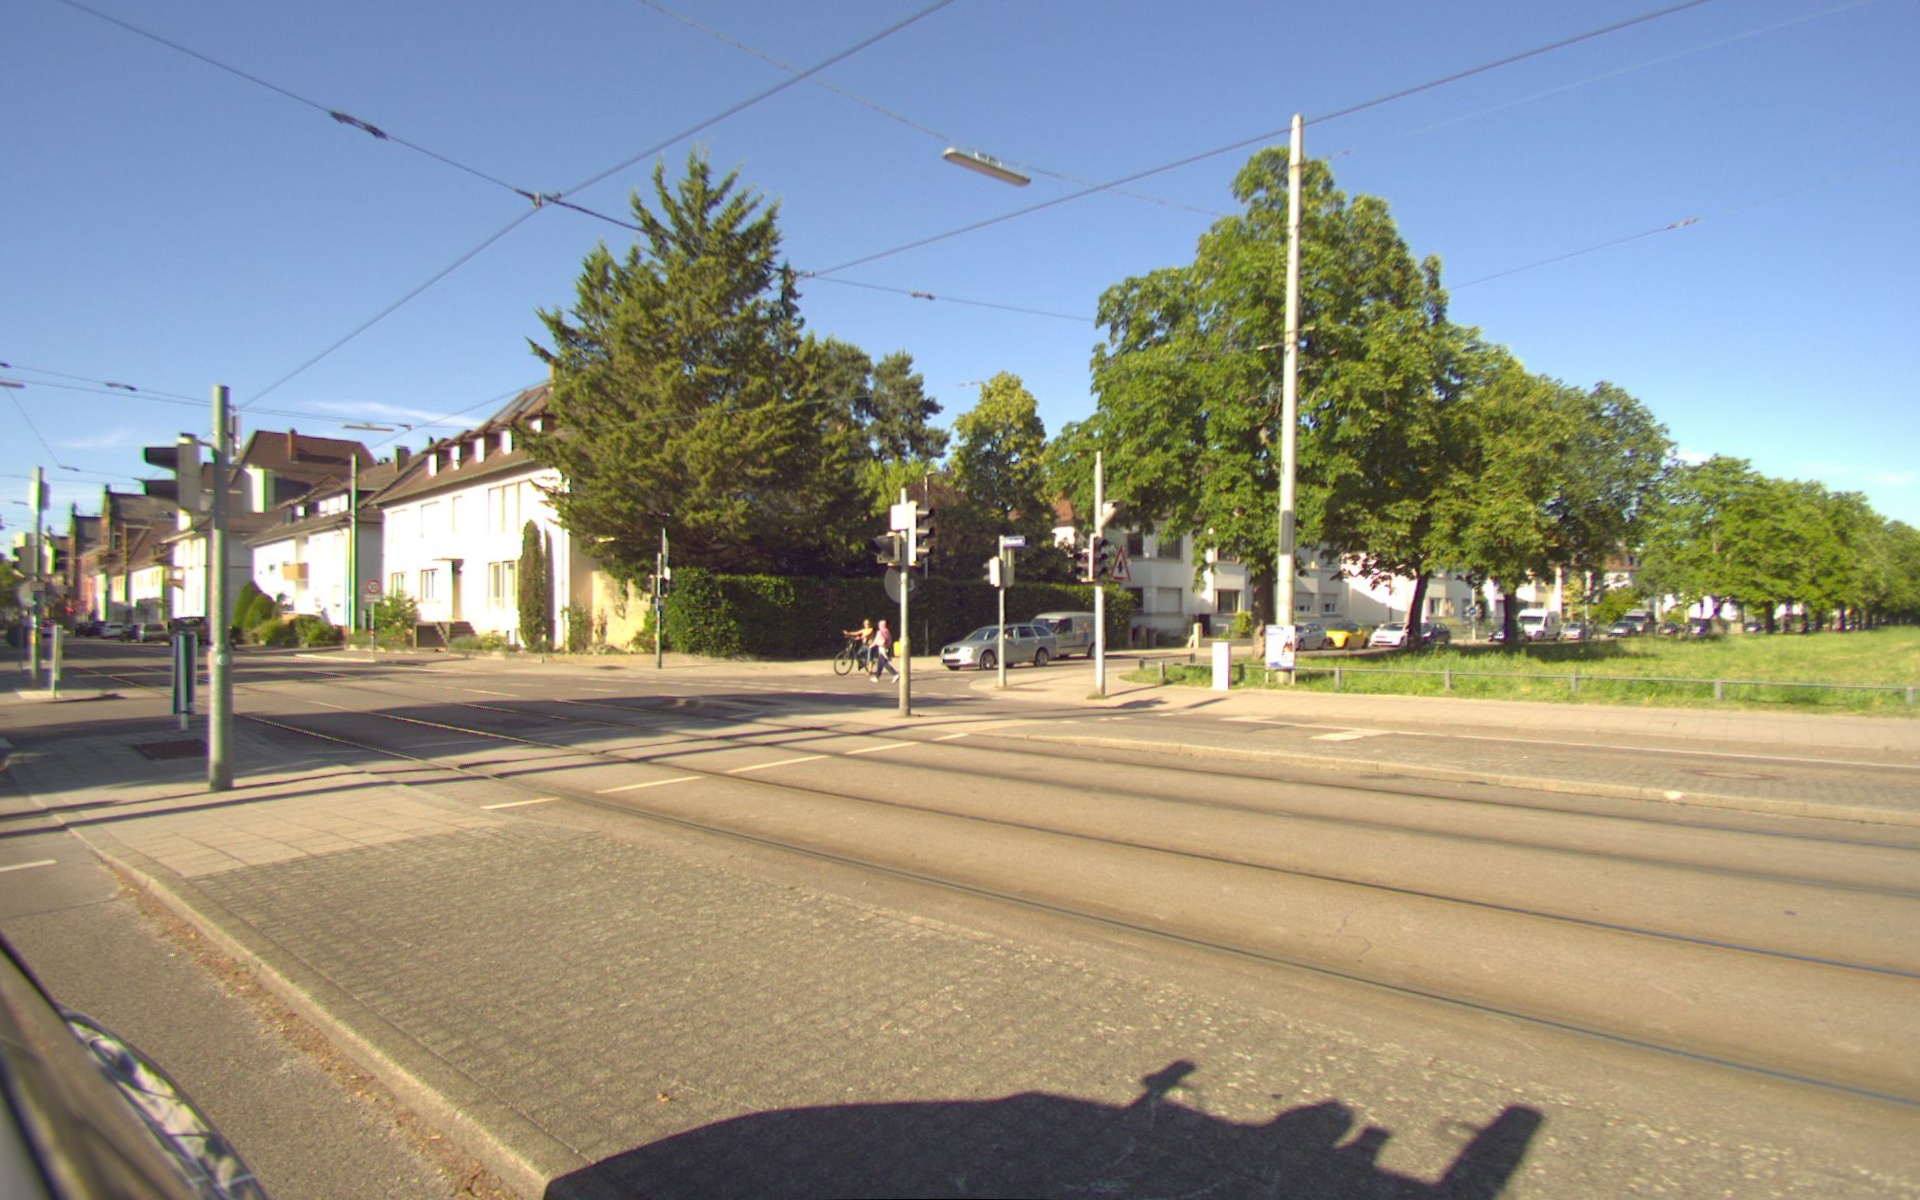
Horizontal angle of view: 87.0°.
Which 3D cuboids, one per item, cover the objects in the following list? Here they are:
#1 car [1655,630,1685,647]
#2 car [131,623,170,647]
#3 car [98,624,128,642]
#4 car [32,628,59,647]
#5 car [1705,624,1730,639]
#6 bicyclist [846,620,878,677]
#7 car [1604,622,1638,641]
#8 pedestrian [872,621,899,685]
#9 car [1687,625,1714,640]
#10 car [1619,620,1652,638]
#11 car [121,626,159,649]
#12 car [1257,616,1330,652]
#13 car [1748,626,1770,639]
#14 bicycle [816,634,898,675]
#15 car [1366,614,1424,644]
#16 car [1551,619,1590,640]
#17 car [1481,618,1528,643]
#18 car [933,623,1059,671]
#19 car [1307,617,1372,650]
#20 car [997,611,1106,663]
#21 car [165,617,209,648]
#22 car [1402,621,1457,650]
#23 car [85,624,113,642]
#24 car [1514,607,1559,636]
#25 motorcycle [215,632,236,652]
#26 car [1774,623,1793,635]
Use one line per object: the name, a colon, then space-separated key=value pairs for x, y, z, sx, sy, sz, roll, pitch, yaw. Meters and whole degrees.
car: x=74.651 y=4.060 z=106.369 sx=3.828 sy=1.756 sz=1.818 roll=1 pitch=-2 yaw=-44
car: x=-61.896 y=2.687 z=77.344 sx=1.897 sy=1.728 sz=4.002 roll=-2 pitch=0 yaw=-45
car: x=-77.045 y=2.993 z=92.044 sx=1.896 sy=1.576 sz=4.005 roll=-2 pitch=0 yaw=-42
car: x=-88.195 y=3.570 z=97.652 sx=1.896 sy=1.728 sz=4.005 roll=-2 pitch=0 yaw=-42
car: x=93.228 y=3.877 z=124.556 sx=3.828 sy=1.756 sz=1.818 roll=1 pitch=-2 yaw=-44
bicyclist: x=-2.890 y=1.421 z=29.830 sx=0.551 sy=1.635 sz=0.900 roll=1 pitch=-2 yaw=-38
car: x=61.615 y=2.896 z=94.305 sx=3.828 sy=1.756 sz=1.818 roll=1 pitch=-2 yaw=-44
pedestrian: x=-1.882 y=1.336 z=25.575 sx=0.614 sy=1.568 sz=0.679 roll=-2 pitch=0 yaw=-4
car: x=85.486 y=3.760 z=116.799 sx=3.828 sy=1.756 sz=1.818 roll=1 pitch=-2 yaw=-44
car: x=65.186 y=2.778 z=97.673 sx=3.828 sy=1.756 sz=1.818 roll=1 pitch=-2 yaw=-44
car: x=-66.181 y=2.982 z=81.674 sx=4.002 sy=1.728 sz=1.897 roll=-2 pitch=0 yaw=45
car: x=17.154 y=1.726 z=52.039 sx=4.138 sy=1.756 sz=1.818 roll=1 pitch=-2 yaw=-44
car: x=109.732 y=4.418 z=139.009 sx=3.828 sy=1.756 sz=1.818 roll=1 pitch=-2 yaw=-44
bicycle: x=-3.014 y=1.586 z=29.731 sx=2.250 sy=1.126 sz=0.932 roll=1 pitch=-2 yaw=-38
car: x=25.989 y=1.710 z=60.367 sx=3.828 sy=1.756 sz=1.818 roll=1 pitch=-2 yaw=-44
car: x=51.208 y=2.483 z=84.841 sx=3.828 sy=1.756 sz=1.818 roll=1 pitch=-2 yaw=-44
car: x=39.259 y=2.165 z=72.941 sx=3.828 sy=1.756 sz=1.818 roll=1 pitch=-2 yaw=-44
car: x=1.207 y=1.495 z=33.072 sx=3.937 sy=1.444 sz=1.819 roll=1 pitch=-2 yaw=-40
car: x=20.723 y=1.804 z=55.200 sx=3.828 sy=1.756 sz=1.818 roll=1 pitch=-2 yaw=-44
car: x=3.572 y=1.398 z=39.084 sx=4.251 sy=1.881 sz=1.818 roll=1 pitch=-2 yaw=-44
car: x=-51.376 y=2.162 z=67.245 sx=1.896 sy=1.915 sz=4.004 roll=-2 pitch=0 yaw=-43
car: x=29.593 y=2.240 z=63.771 sx=3.828 sy=1.756 sz=1.818 roll=1 pitch=-2 yaw=-44
car: x=-87.485 y=3.370 z=102.821 sx=1.897 sy=1.728 sz=4.003 roll=-2 pitch=0 yaw=-44
car: x=43.997 y=1.645 z=77.172 sx=4.120 sy=2.110 sz=1.818 roll=1 pitch=-2 yaw=-44
motorcycle: x=-40.883 y=2.330 z=56.305 sx=0.597 sy=1.054 sz=2.439 roll=-2 pitch=0 yaw=-44
car: x=128.590 y=4.542 z=158.039 sx=3.828 sy=1.756 sz=1.818 roll=1 pitch=-2 yaw=-44
